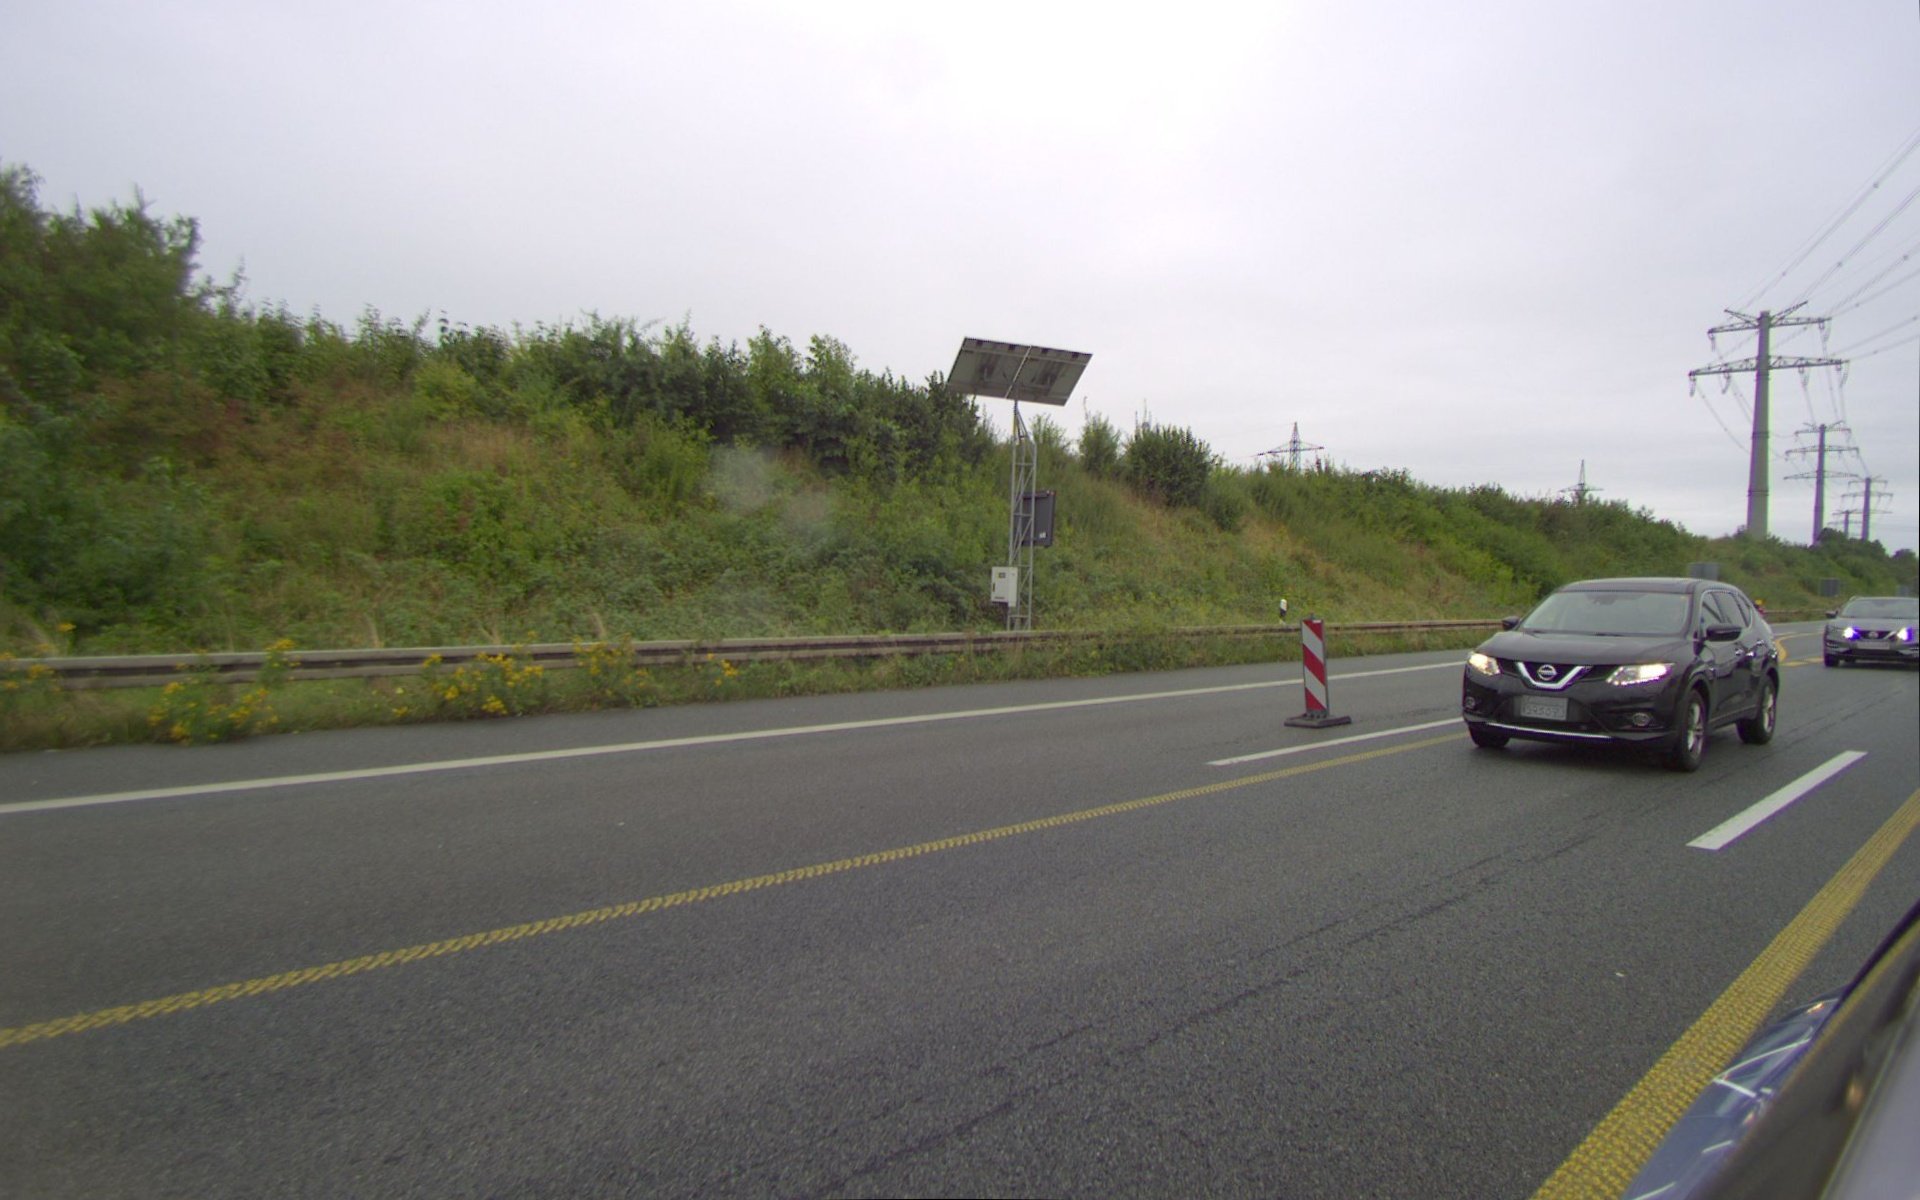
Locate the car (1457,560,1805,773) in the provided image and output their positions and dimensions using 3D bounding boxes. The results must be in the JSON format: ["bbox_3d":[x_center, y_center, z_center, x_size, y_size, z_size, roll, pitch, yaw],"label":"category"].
[{"bbox_3d":[6.712,0.507,9.943,4.204,1.679,1.688,0,1,-39],"label":"car"}]

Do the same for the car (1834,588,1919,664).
[{"bbox_3d":[20.967,0.531,22.556,4.079,1.552,1.802,0,1,-42],"label":"car"}]
